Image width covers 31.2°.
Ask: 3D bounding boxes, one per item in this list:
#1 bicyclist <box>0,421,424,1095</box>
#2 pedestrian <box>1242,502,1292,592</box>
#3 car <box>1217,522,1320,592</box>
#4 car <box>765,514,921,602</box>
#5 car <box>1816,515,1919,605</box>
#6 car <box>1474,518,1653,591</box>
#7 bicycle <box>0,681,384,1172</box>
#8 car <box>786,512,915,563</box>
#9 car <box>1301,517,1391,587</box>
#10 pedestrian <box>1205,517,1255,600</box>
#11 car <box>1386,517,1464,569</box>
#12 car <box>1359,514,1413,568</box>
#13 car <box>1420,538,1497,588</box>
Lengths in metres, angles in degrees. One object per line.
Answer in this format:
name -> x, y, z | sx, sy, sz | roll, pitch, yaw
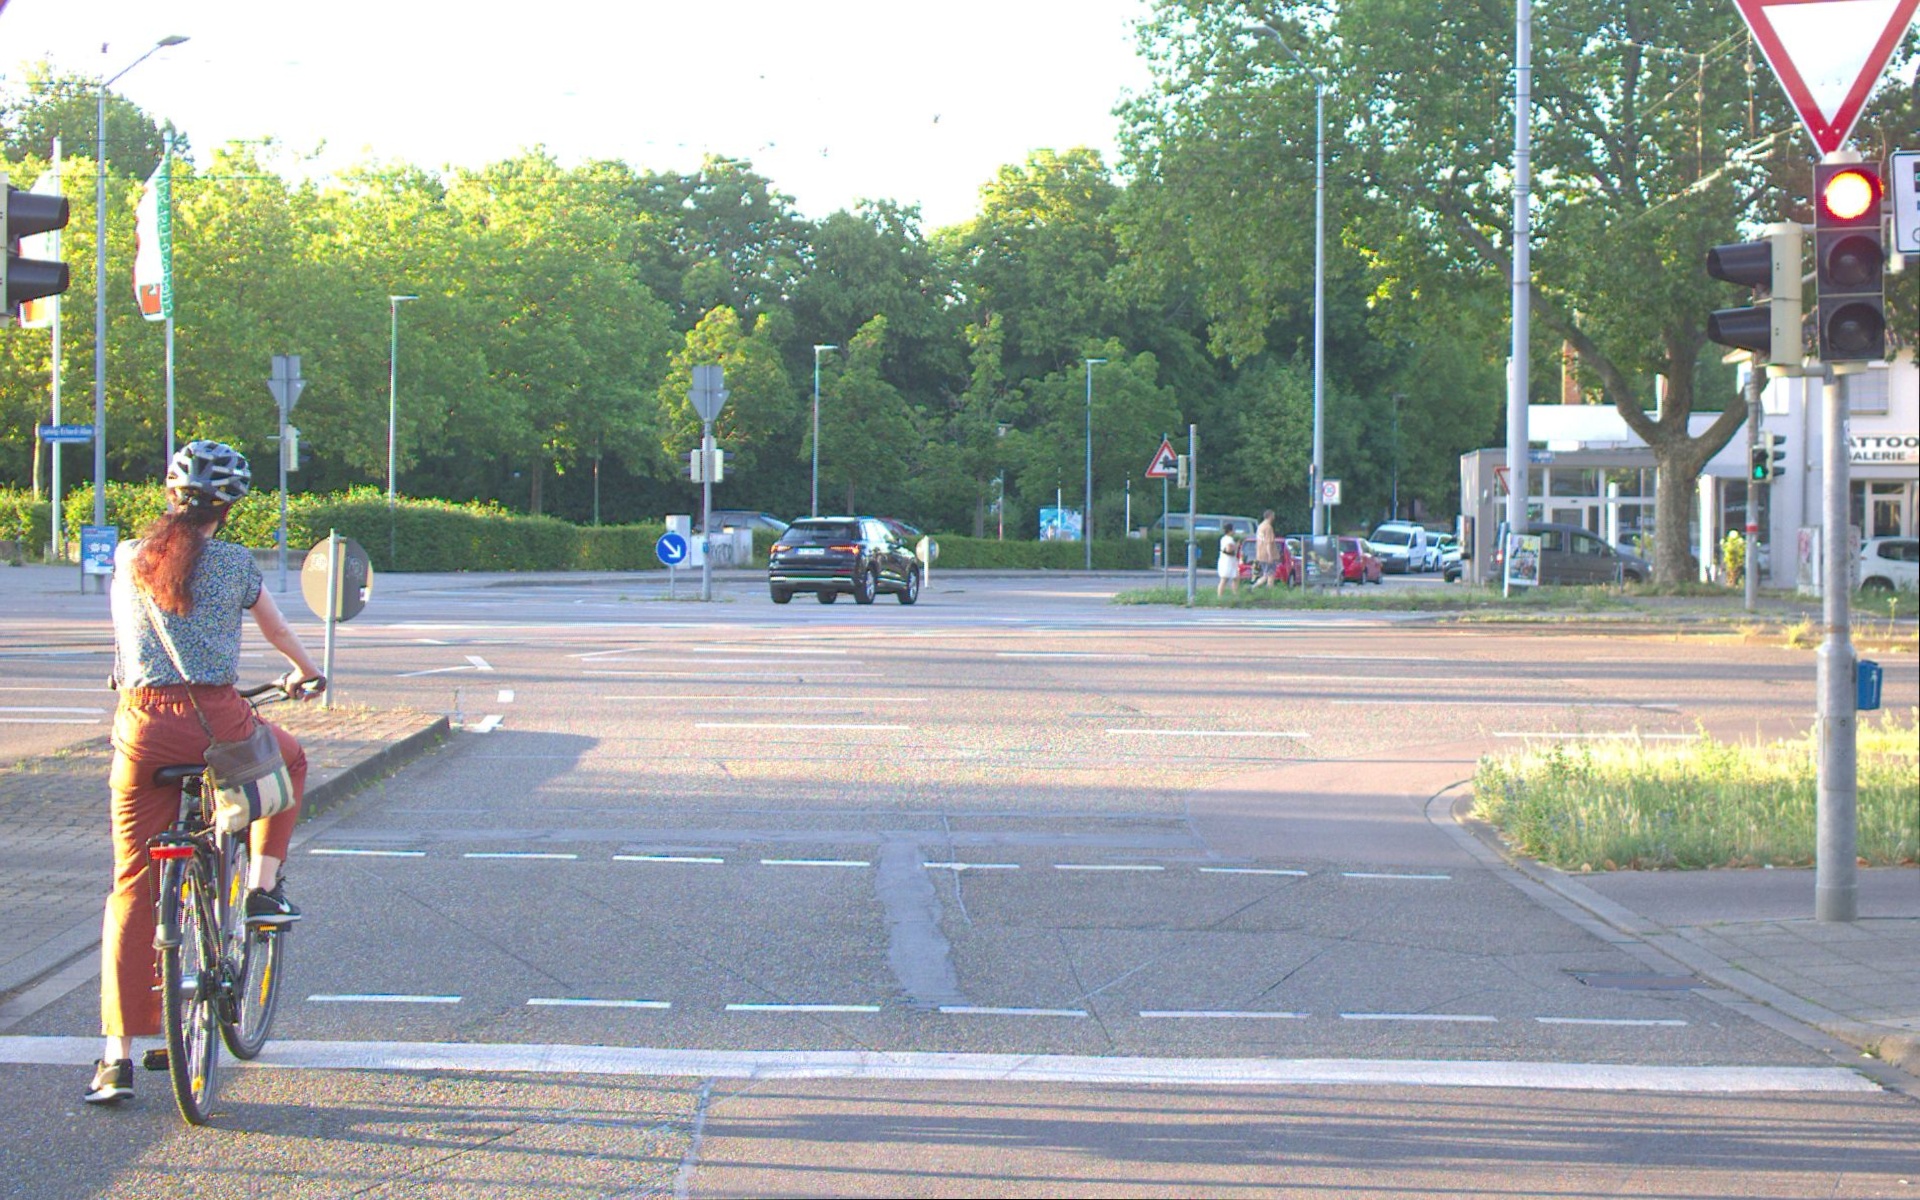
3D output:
bicyclist -> -2.039, 0.393, 9.267 | 1.031, 1.712, 0.996 | 1, 1, -1
pedestrian -> 6.026, -1.038, 67.439 | 0.719, 1.748, 0.896 | 1, 1, 24
car -> 8.603, -1.212, 95.701 | 1.870, 1.868, 3.870 | 1, 2, 21
car -> -2.094, -0.749, 62.739 | 1.756, 1.535, 4.398 | 1, 0, 13
car -> 20.407, -0.841, 72.474 | 4.230, 1.840, 2.000 | 1, 1, 2
car -> 15.592, -1.198, 88.963 | 4.378, 1.828, 1.948 | 1, 1, 5
bicycle -> -2.040, 0.805, 9.260 | 0.634, 1.064, 2.122 | 1, 1, -1
car -> -3.478, -1.988, 109.512 | 3.987, 1.555, 2.000 | 1, 1, 1
car -> 11.617, -1.457, 103.313 | 1.916, 2.040, 3.997 | 1, 2, 17
pedestrian -> 5.355, -0.828, 68.139 | 0.719, 1.633, 0.896 | 1, 1, 24
car -> 18.386, -2.281, 135.778 | 1.996, 2.007, 3.995 | 1, 2, 24
car -> 16.247, -2.264, 131.172 | 1.994, 2.007, 3.999 | 1, 1, 7
car -> 16.756, -1.265, 115.423 | 1.916, 1.597, 3.997 | 1, 2, 17
